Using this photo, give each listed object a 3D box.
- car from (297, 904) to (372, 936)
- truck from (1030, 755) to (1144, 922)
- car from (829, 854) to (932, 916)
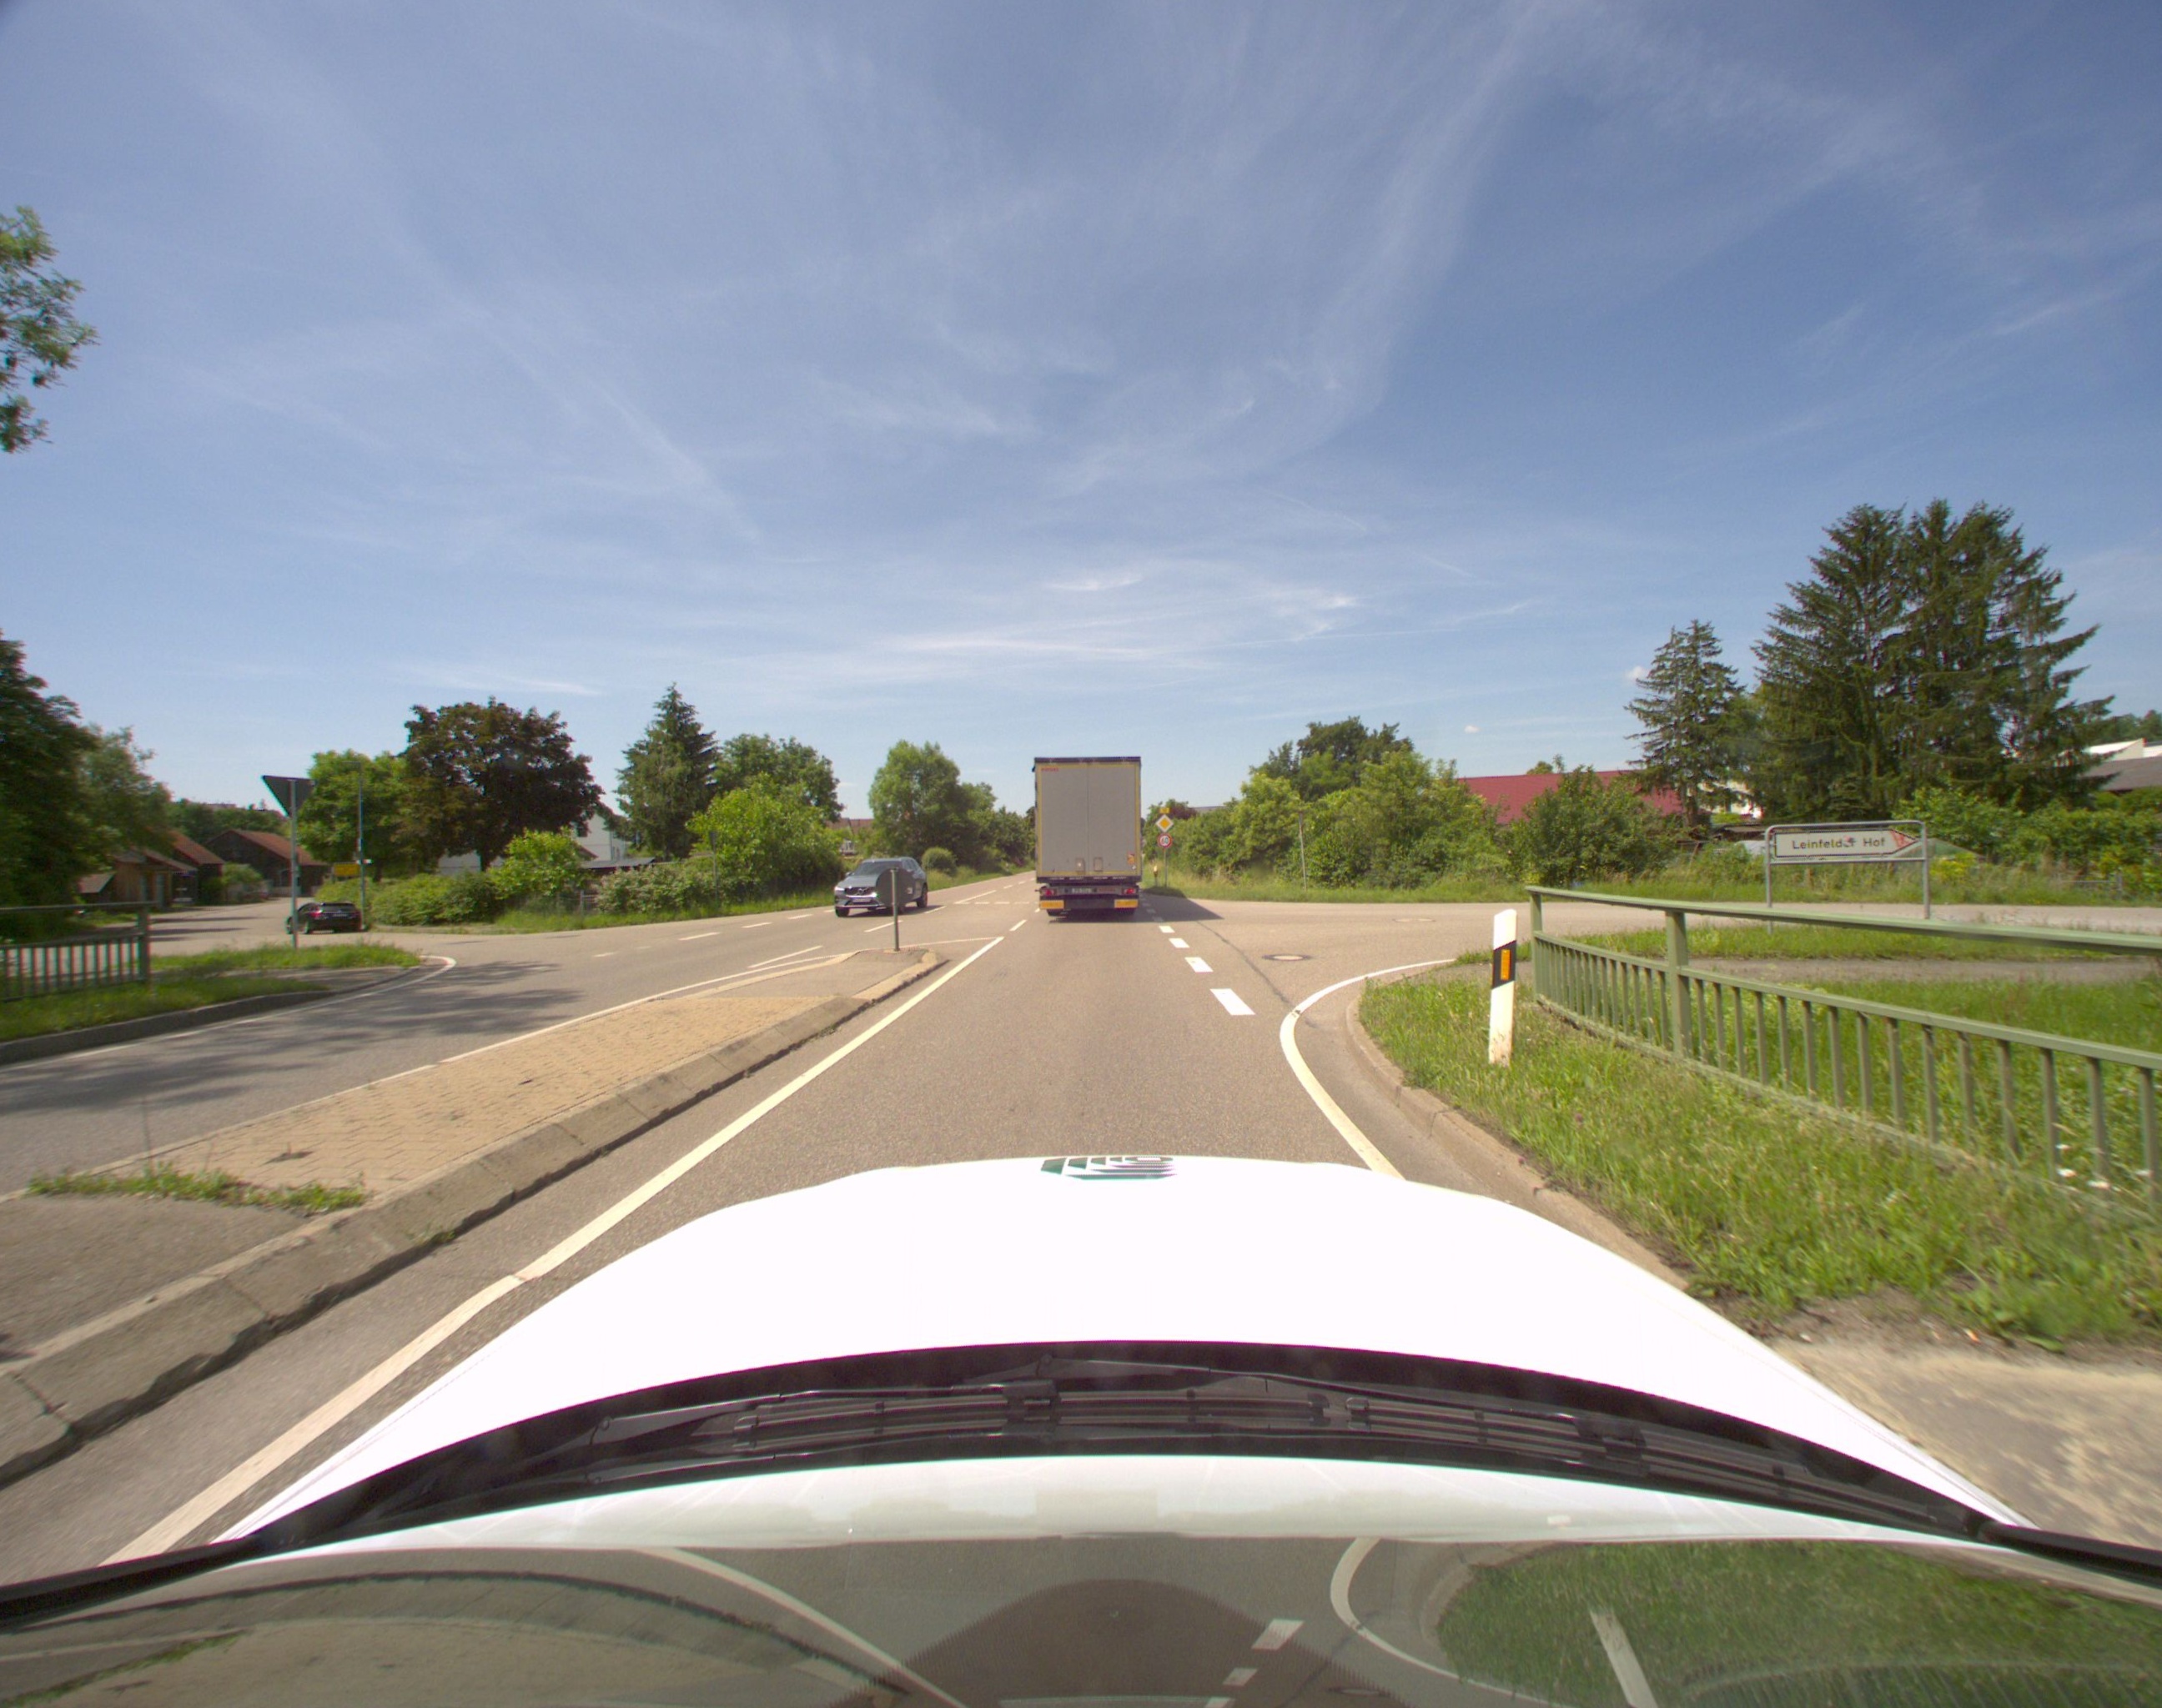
[{"bbox_3d":[-34.824,3.063,37.988,3.948,1.357,1.809,-4,-3,36],"label":"car"},{"bbox_3d":[0.136,-0.377,23.746,2.639,3.917,8.823,-1,0,0],"label":"truck"},{"bbox_3d":[-5.977,0.874,24.840,1.941,1.654,4.432,-2,0,0],"label":"car"}]
